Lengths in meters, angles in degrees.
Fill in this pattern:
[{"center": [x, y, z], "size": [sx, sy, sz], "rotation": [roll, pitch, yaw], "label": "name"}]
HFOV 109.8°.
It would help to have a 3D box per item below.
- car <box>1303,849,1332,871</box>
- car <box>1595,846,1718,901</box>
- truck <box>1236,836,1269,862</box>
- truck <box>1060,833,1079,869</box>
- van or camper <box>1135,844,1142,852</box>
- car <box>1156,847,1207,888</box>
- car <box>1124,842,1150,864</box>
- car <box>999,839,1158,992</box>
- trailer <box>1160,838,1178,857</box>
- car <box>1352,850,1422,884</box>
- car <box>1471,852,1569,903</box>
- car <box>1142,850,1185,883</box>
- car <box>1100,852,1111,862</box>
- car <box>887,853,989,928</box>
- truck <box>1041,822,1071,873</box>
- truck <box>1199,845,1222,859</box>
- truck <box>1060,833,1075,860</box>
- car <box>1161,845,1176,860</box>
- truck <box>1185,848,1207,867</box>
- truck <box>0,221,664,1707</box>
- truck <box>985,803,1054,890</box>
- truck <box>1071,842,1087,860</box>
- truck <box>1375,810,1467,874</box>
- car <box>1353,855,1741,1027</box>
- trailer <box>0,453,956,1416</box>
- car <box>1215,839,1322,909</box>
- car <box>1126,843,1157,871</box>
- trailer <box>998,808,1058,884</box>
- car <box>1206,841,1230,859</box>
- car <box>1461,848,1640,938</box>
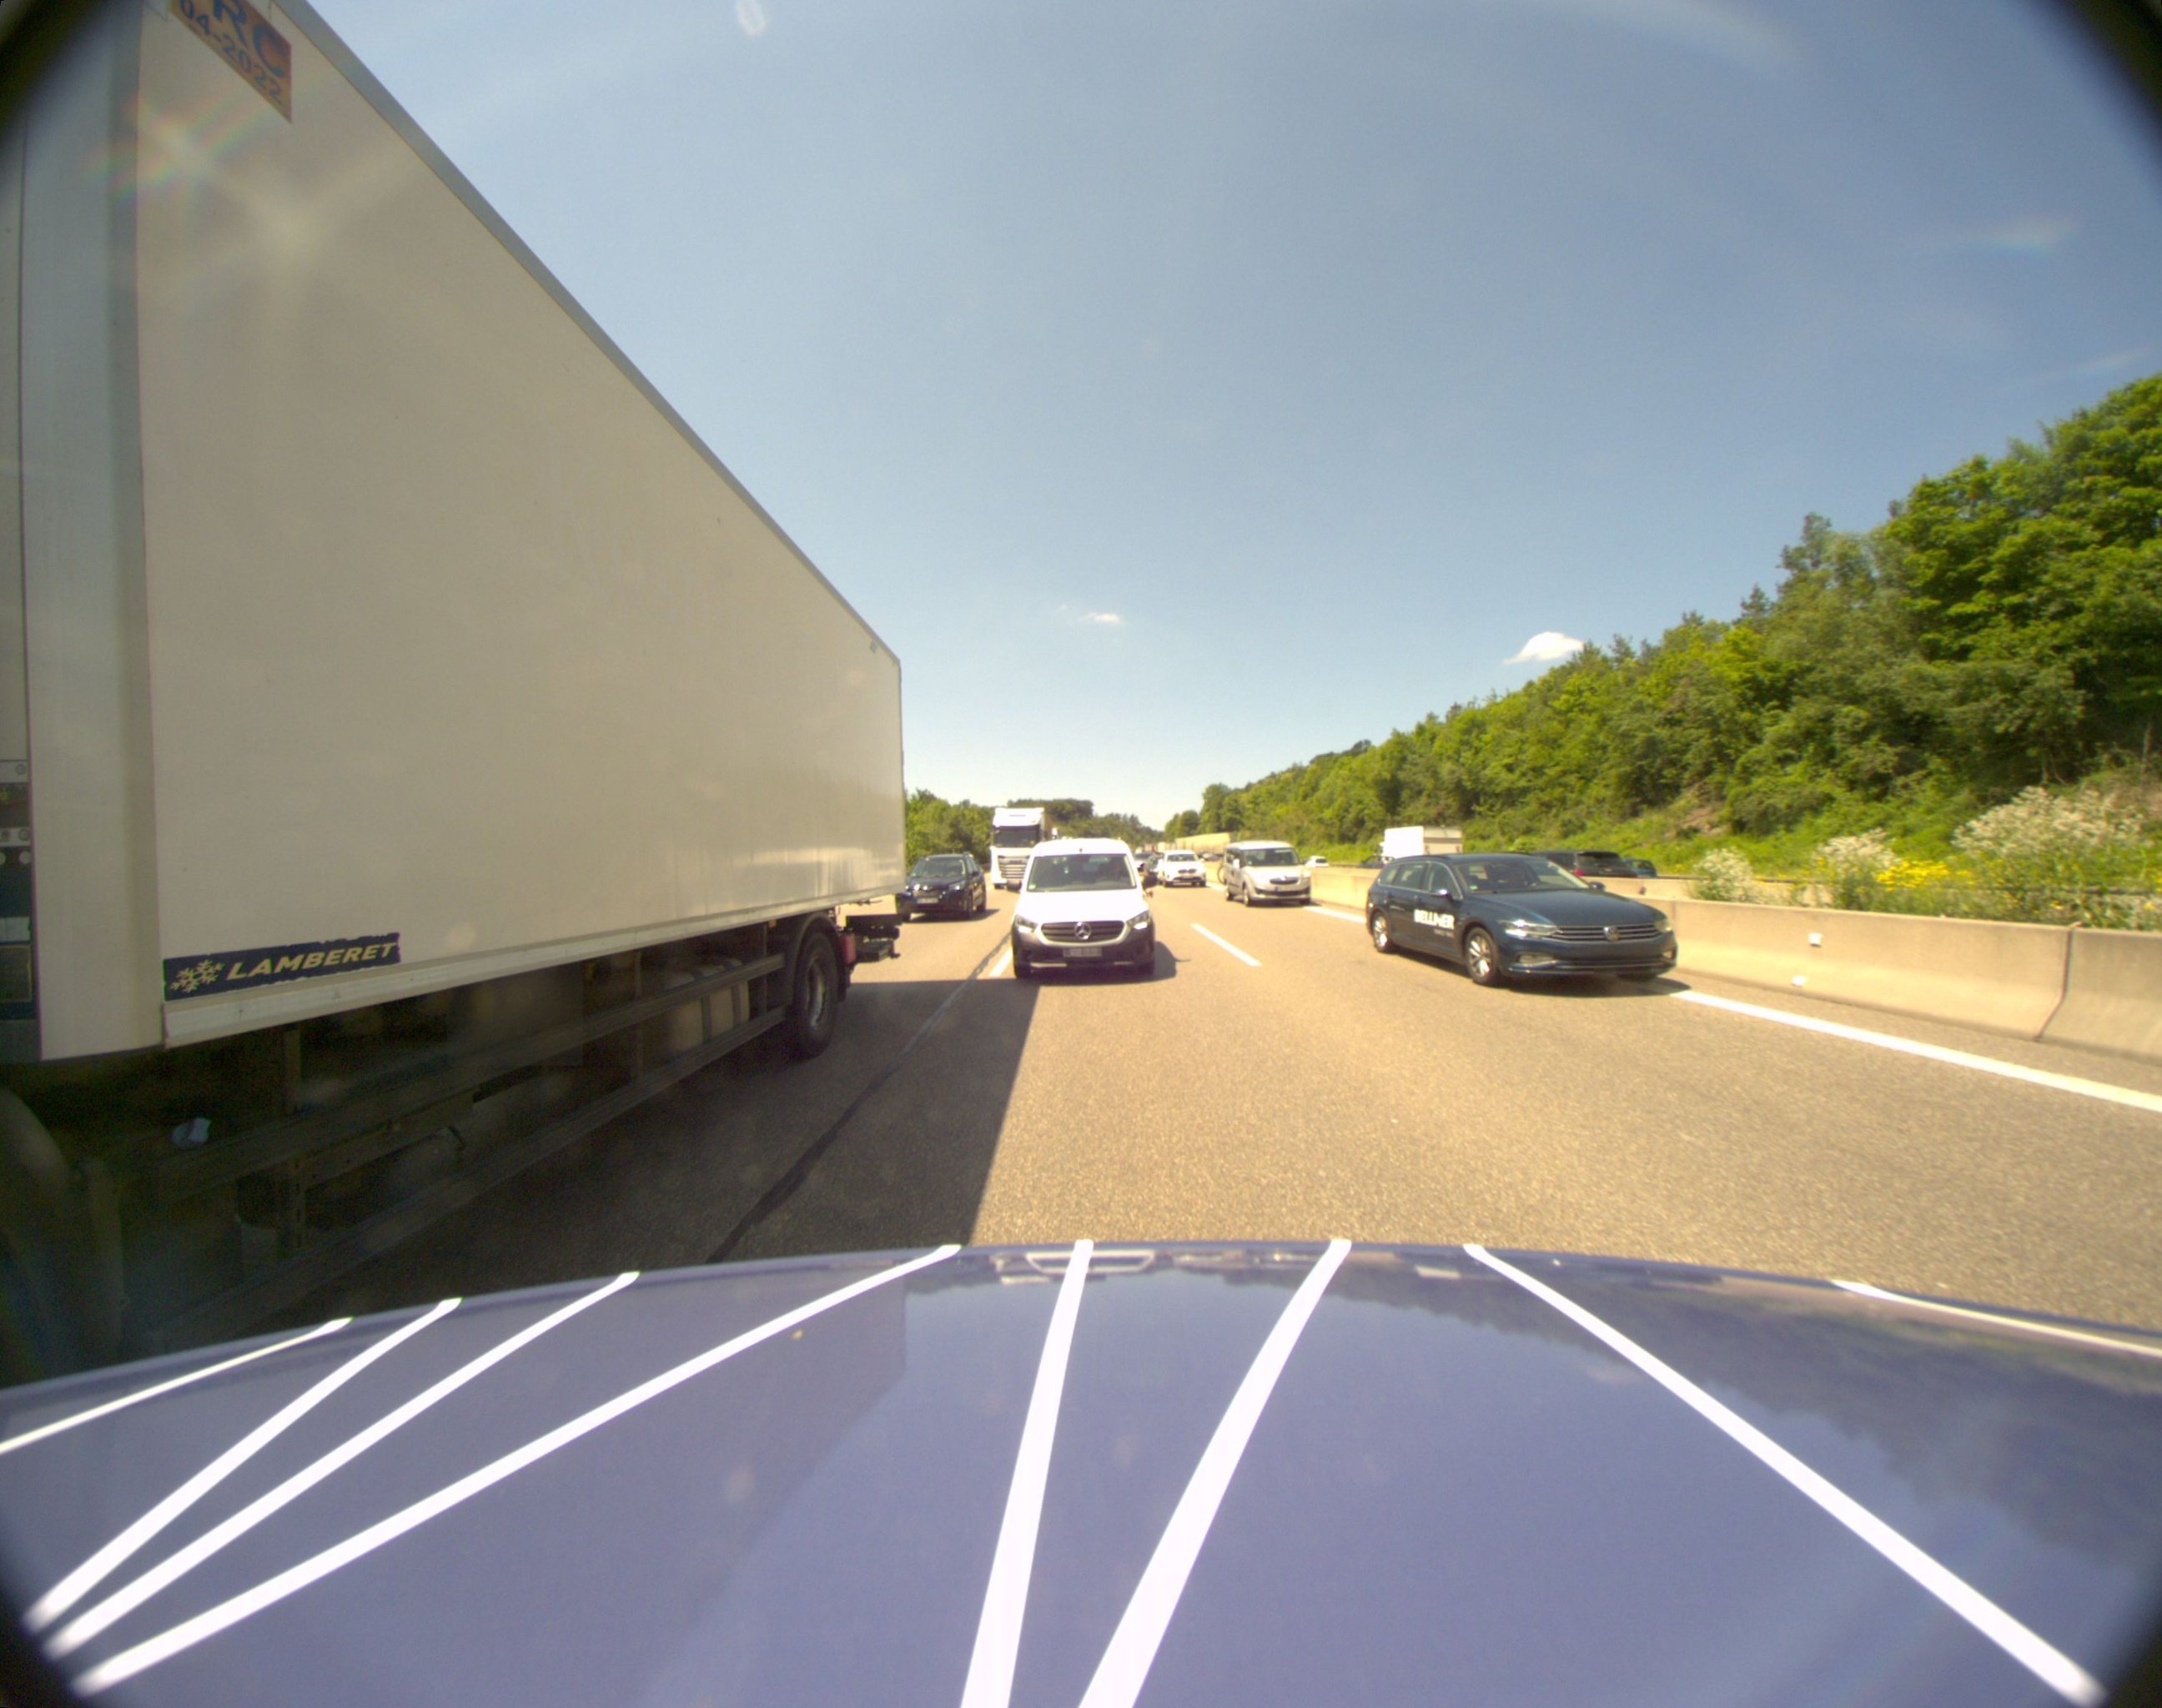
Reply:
[{"center": [23.751, 0.580, 76.357], "size": [1.856, 2.002, 3.512], "rotation": [-2, 1, 1], "label": "car"}, {"center": [23.475, 0.724, 31.200], "size": [1.999, 2.002, 3.999], "rotation": [-2, 1, 0], "label": "car"}, {"center": [20.086, -0.633, 89.315], "size": [2.183, 2.868, 6.740], "rotation": [-2, 1, 0], "label": "truck"}, {"center": [-1.502, -0.329, 100.111], "size": [2.187, 4.438, 10.868], "rotation": [-2, 0, 0], "label": "truck"}, {"center": [18.862, -1.916, 247.920], "size": [1.998, 2.371, 4.808], "rotation": [4, 1, 3], "label": "van or camper"}, {"center": [4.615, 0.563, 35.348], "size": [1.824, 1.696, 3.999], "rotation": [-2, 1, 0], "label": "car"}, {"center": [5.396, -0.120, 73.831], "size": [1.999, 2.002, 3.998], "rotation": [-2, 1, -2], "label": "car"}, {"center": [0.005, 0.660, 10.790], "size": [1.756, 1.681, 4.363], "rotation": [-2, 1, 1], "label": "car"}, {"center": [20.774, -1.607, 179.254], "size": [2.956, 4.456, 10.814], "rotation": [-2, 1, 0], "label": "trailer"}, {"center": [15.652, 0.615, 39.103], "size": [1.998, 1.511, 3.999], "rotation": [-2, 1, 1], "label": "car"}, {"center": [19.432, 0.998, 33.861], "size": [1.999, 2.002, 3.999], "rotation": [-2, 1, 0], "label": "car"}, {"center": [4.778, 0.713, 44.649], "size": [1.999, 1.747, 3.999], "rotation": [-2, 1, -1], "label": "car"}, {"center": [4.317, 0.486, 135.342], "size": [1.803, 1.660, 4.000], "rotation": [-2, 0, -1], "label": "car"}, {"center": [-3.661, 0.855, 20.333], "size": [1.999, 1.682, 4.609], "rotation": [0, 1, -2], "label": "car"}, {"center": [-2.273, -0.535, 71.777], "size": [2.394, 4.438, 10.868], "rotation": [-2, 0, 0], "label": "truck"}, {"center": [20.197, -0.344, 118.964], "size": [2.357, 2.002, 6.490], "rotation": [-2, 1, -1], "label": "truck"}, {"center": [-2.103, -1.164, 122.071], "size": [2.187, 4.073, 10.868], "rotation": [-2, 0, 0], "label": "truck"}, {"center": [12.567, -0.308, 109.344], "size": [1.998, 2.002, 4.957], "rotation": [-2, 1, 4], "label": "car"}, {"center": [11.933, 0.333, 79.068], "size": [1.704, 1.936, 4.000], "rotation": [-1, 0, 1], "label": "truck"}, {"center": [-3.252, 0.315, 1.377], "size": [2.562, 2.924, 4.103], "rotation": [-1, 1, 2], "label": "truck"}, {"center": [-3.057, -0.425, 39.948], "size": [2.766, 4.061, 7.333], "rotation": [-2, 1, 1], "label": "truck"}, {"center": [-0.546, -0.686, 196.723], "size": [4.084, 4.403, 11.396], "rotation": [-2, 0, -1], "label": "truck"}, {"center": [23.119, -0.826, 52.197], "size": [2.699, 3.967, 7.988], "rotation": [-2, 1, 1], "label": "truck"}, {"center": [5.082, 0.796, 9.254], "size": [1.879, 1.442, 4.677], "rotation": [-2, 1, 0], "label": "car"}, {"center": [-3.125, 0.263, 6.256], "size": [2.562, 2.882, 7.882], "rotation": [-2, 0, 2], "label": "trailer"}, {"center": [5.332, 0.479, 22.282], "size": [1.857, 1.762, 4.916], "rotation": [-2, 1, 0], "label": "car"}, {"center": [4.421, 0.226, 55.972], "size": [1.998, 2.001, 4.001], "rotation": [-1, -1, 1], "label": "car"}, {"center": [-3.020, -0.552, 46.682], "size": [2.766, 4.061, 11.614], "rotation": [0, 1, 0], "label": "trailer"}, {"center": [16.002, -0.488, 88.943], "size": [1.998, 2.002, 4.418], "rotation": [-2, 1, 1], "label": "car"}, {"center": [11.242, 0.832, 18.567], "size": [1.911, 1.871, 3.999], "rotation": [-2, 1, 0], "label": "car"}]
